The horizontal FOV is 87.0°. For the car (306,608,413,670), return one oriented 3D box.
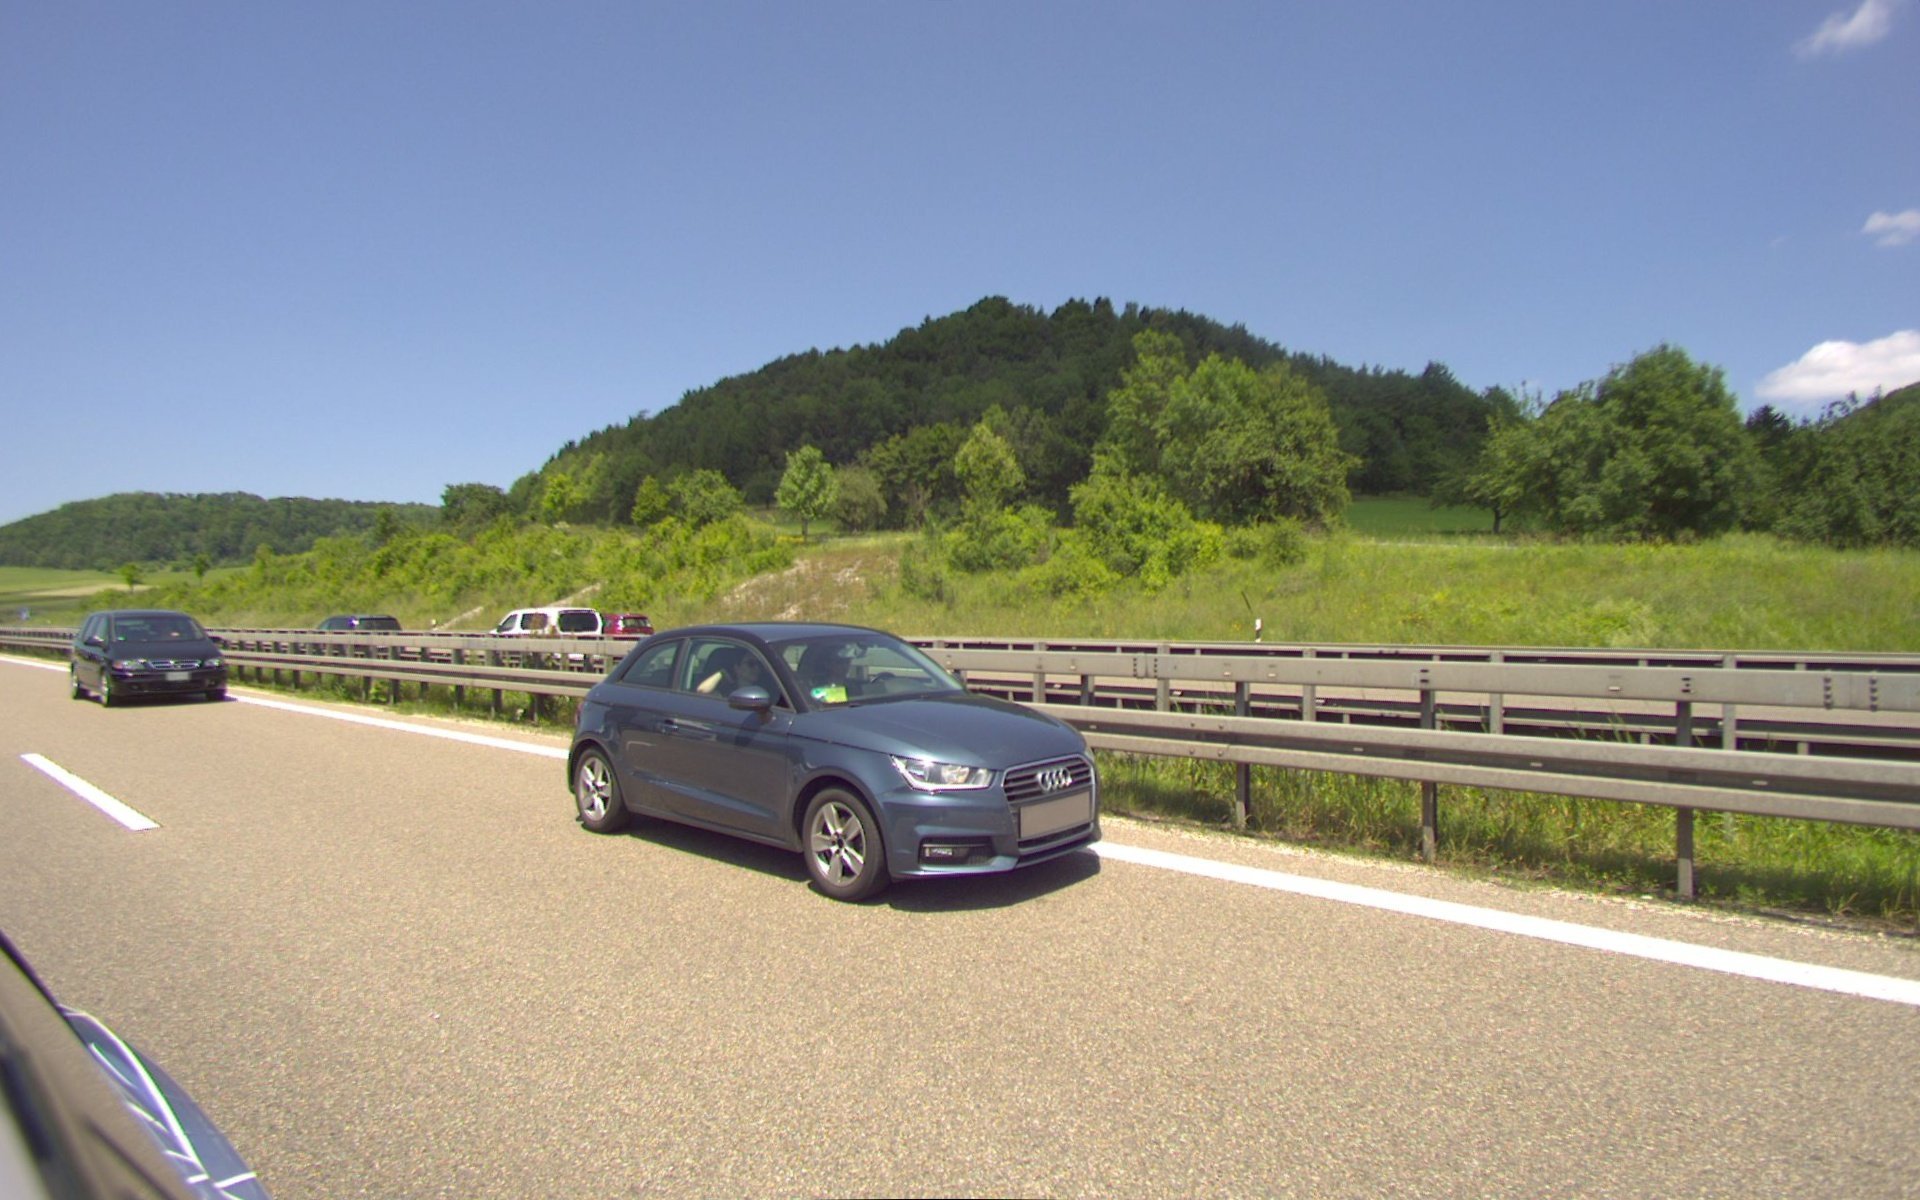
[{"bbox_3d":[-18.618,1.170,31.315,3.932,1.775,1.737,-1,-1,41],"label":"car"}]

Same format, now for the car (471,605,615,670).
[{"bbox_3d":[-12.828,1.105,30.971,5.224,1.853,1.973,-1,-1,41],"label":"car"}]

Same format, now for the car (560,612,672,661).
[{"bbox_3d":[-12.426,1.288,36.430,4.542,1.657,1.806,-1,-1,41],"label":"car"}]

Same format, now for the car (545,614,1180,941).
[{"bbox_3d":[-0.829,0.803,6.307,3.998,1.399,1.671,-1,-1,41],"label":"car"}]

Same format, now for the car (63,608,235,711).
[{"bbox_3d":[-14.736,0.997,18.301,4.445,1.647,1.781,-1,-1,42],"label":"car"}]
